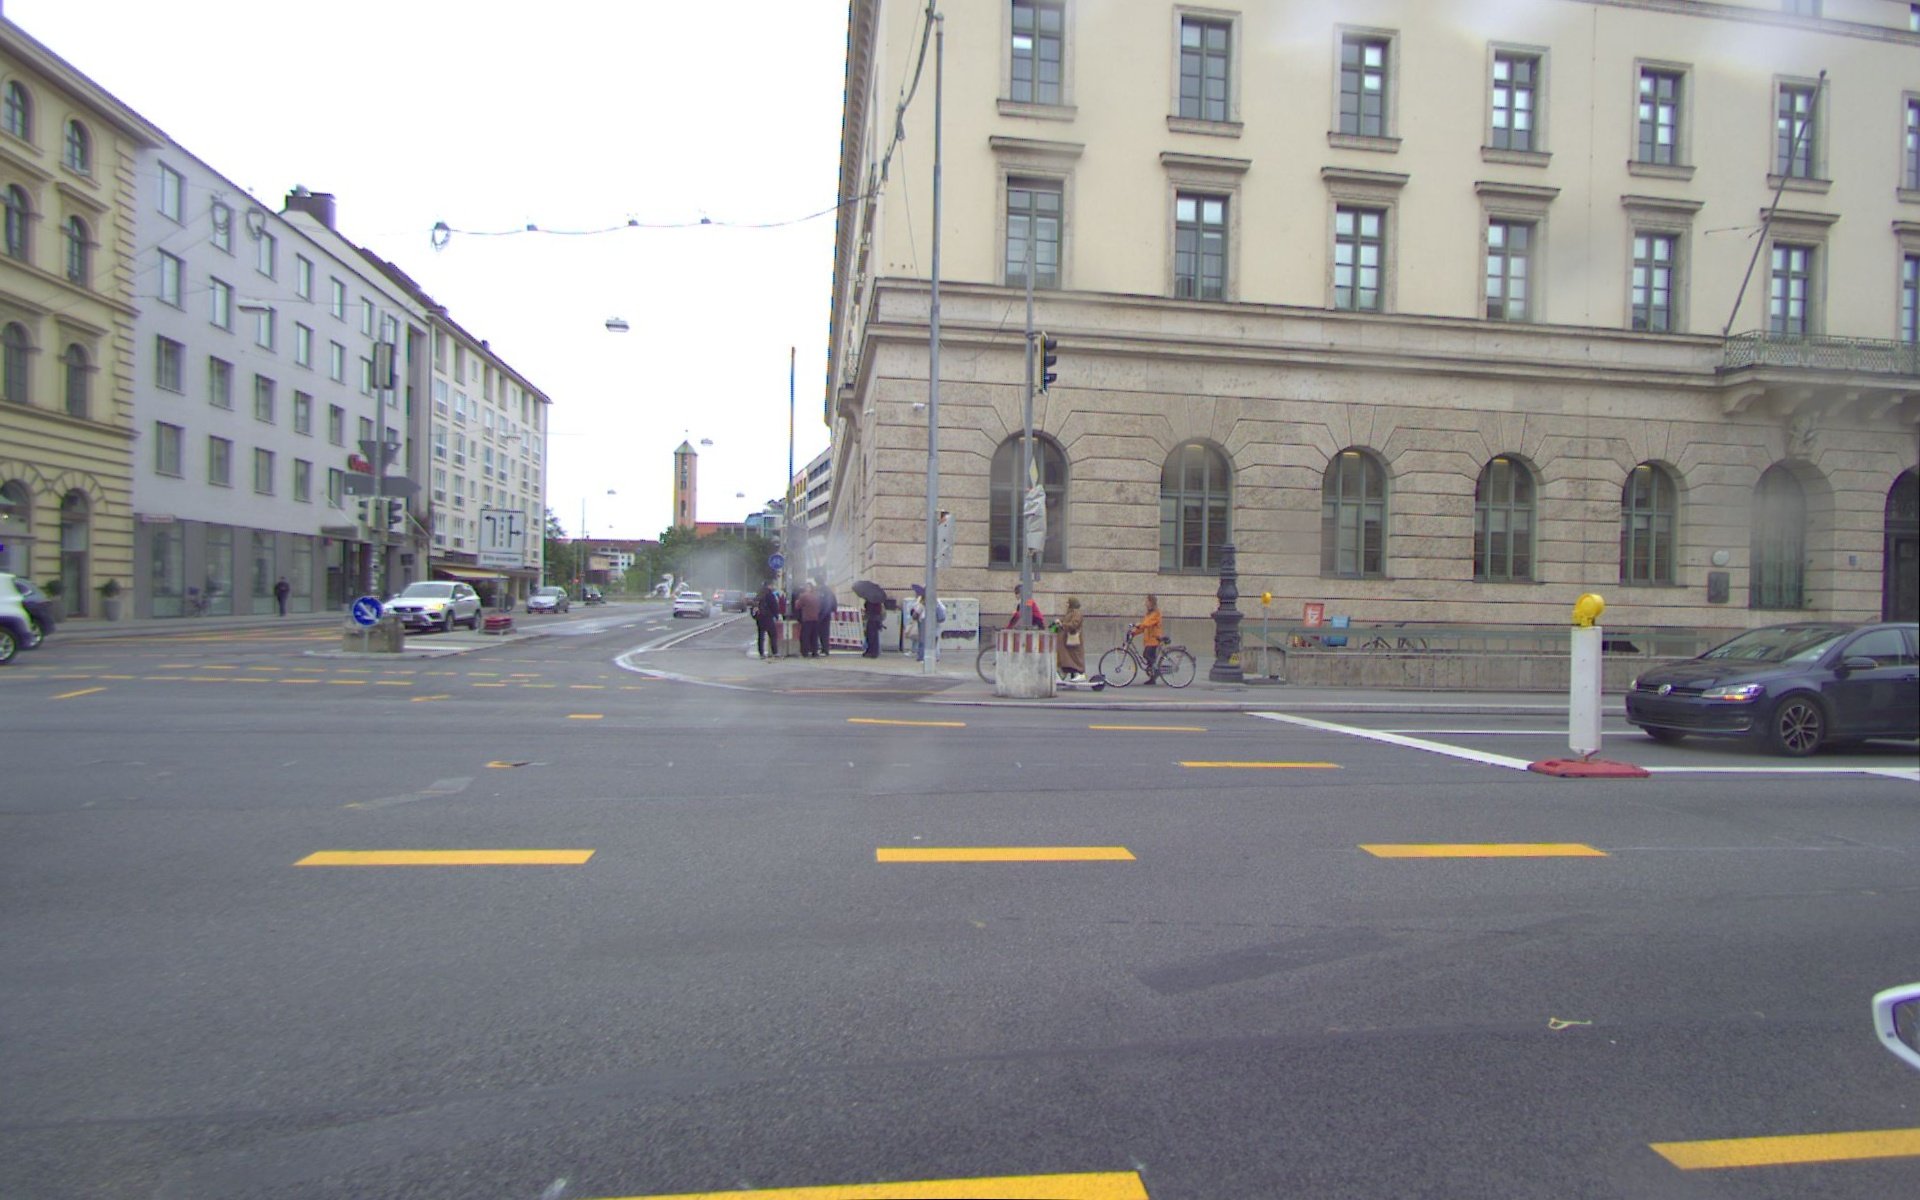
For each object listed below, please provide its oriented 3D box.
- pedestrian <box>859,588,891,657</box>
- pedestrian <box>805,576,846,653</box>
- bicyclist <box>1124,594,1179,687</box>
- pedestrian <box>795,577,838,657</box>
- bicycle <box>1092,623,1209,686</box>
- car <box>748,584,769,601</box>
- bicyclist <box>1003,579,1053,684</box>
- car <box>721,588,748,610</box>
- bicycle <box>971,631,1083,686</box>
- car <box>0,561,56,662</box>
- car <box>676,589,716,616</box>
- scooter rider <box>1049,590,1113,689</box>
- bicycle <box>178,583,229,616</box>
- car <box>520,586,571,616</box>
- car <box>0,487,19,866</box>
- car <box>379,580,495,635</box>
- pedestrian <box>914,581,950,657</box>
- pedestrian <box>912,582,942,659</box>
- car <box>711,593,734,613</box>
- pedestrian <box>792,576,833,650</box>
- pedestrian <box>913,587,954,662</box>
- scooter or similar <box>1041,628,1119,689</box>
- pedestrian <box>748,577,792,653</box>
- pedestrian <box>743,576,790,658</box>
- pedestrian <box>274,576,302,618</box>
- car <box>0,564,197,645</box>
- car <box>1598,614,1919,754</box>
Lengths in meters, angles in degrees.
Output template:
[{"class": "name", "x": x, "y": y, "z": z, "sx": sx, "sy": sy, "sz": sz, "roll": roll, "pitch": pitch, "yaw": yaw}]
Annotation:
[{"class": "pedestrian", "x": -1.965, "y": 0.512, "z": 23.207, "sx": 0.655, "sy": 1.547, "sz": 0.819, "roll": 2, "pitch": 0, "yaw": -7}, {"class": "pedestrian", "x": -3.201, "y": 0.342, "z": 23.897, "sx": 0.574, "sy": 1.779, "sz": 0.820, "roll": 3, "pitch": 0, "yaw": 22}, {"class": "bicyclist", "x": 3.519, "y": 0.731, "z": 18.537, "sx": 0.732, "sy": 1.636, "sz": 0.794, "roll": 2, "pitch": 0, "yaw": -6}, {"class": "pedestrian", "x": -3.300, "y": 0.386, "z": 23.081, "sx": 0.574, "sy": 1.779, "sz": 0.820, "roll": 3, "pitch": 0, "yaw": 22}, {"class": "bicycle", "x": 3.502, "y": 0.995, "z": 18.544, "sx": 1.928, "sy": 1.054, "sz": 0.794, "roll": 3, "pitch": 0, "yaw": -6}, {"class": "car", "x": -19.979, "y": -0.777, "z": 99.591, "sx": 1.837, "sy": 1.623, "sz": 3.844, "roll": 1, "pitch": 0, "yaw": -9}, {"class": "bicyclist", "x": 1.235, "y": 0.566, "z": 18.378, "sx": 0.732, "sy": 1.866, "sz": 0.660, "roll": 2, "pitch": 0, "yaw": -6}, {"class": "car", "x": -17.724, "y": -0.087, "z": 79.023, "sx": 1.837, "sy": 1.623, "sz": 3.844, "roll": 1, "pitch": 0, "yaw": -9}, {"class": "bicycle", "x": 1.213, "y": 1.069, "z": 18.383, "sx": 1.941, "sy": 0.891, "sz": 0.661, "roll": 3, "pitch": 0, "yaw": -6}, {"class": "car", "x": -17.422, "y": 0.175, "z": 16.009, "sx": 1.763, "sy": 1.700, "sz": 4.235, "roll": 1, "pitch": 0, "yaw": 13}, {"class": "car", "x": -15.175, "y": 0.116, "z": 57.936, "sx": 1.786, "sy": 1.443, "sz": 4.444, "roll": 3, "pitch": 0, "yaw": -10}, {"class": "scooter rider", "x": 2.086, "y": 0.676, "z": 17.344, "sx": 0.918, "sy": 1.644, "sz": 0.592, "roll": 2, "pitch": 0, "yaw": -8}, {"class": "bicycle", "x": -30.631, "y": -0.021, "z": 40.711, "sx": 0.589, "sy": 1.259, "sz": 2.196, "roll": 2, "pitch": 0, "yaw": -6}, {"class": "car", "x": -25.254, "y": 0.042, "z": 61.316, "sx": 1.964, "sy": 1.758, "sz": 4.225, "roll": 1, "pitch": 0, "yaw": -9}, {"class": "car", "x": -6.863, "y": 0.307, "z": 4.422, "sx": 4.493, "sy": 1.758, "sz": 2.001, "roll": 1, "pitch": 0, "yaw": 17}, {"class": "car", "x": -16.101, "y": 0.199, "z": 31.175, "sx": 1.964, "sy": 1.544, "sz": 4.225, "roll": 1, "pitch": 0, "yaw": -9}, {"class": "pedestrian", "x": -0.662, "y": 0.437, "z": 23.600, "sx": 0.704, "sy": 1.716, "sz": 0.819, "roll": 2, "pitch": 0, "yaw": -7}, {"class": "pedestrian", "x": -0.745, "y": 0.452, "z": 22.624, "sx": 0.606, "sy": 1.694, "sz": 0.542, "roll": 2, "pitch": 0, "yaw": -1}, {"class": "car", "x": -24.945, "y": 0.267, "z": 105.538, "sx": 1.964, "sy": 2.040, "sz": 3.993, "roll": 1, "pitch": 0, "yaw": -9}, {"class": "pedestrian", "x": -3.626, "y": 0.315, "z": 24.771, "sx": 0.803, "sy": 1.779, "sz": 0.586, "roll": 2, "pitch": 0, "yaw": 5}, {"class": "pedestrian", "x": -0.570, "y": 0.523, "z": 21.862, "sx": 0.804, "sy": 1.578, "sz": 0.667, "roll": 2, "pitch": 0, "yaw": -1}, {"class": "scooter or similar", "x": 2.071, "y": 1.002, "z": 17.343, "sx": 1.192, "sy": 0.978, "sz": 0.587, "roll": 3, "pitch": 0, "yaw": -8}, {"class": "pedestrian", "x": -4.555, "y": 0.357, "z": 24.099, "sx": 0.813, "sy": 1.779, "sz": 0.579, "roll": 2, "pitch": 1, "yaw": -40}, {"class": "pedestrian", "x": -4.363, "y": 0.380, "z": 22.665, "sx": 0.803, "sy": 1.779, "sz": 0.680, "roll": 3, "pitch": 0, "yaw": 7}, {"class": "pedestrian", "x": -30.130, "y": -0.136, "z": 45.051, "sx": 0.726, "sy": 1.795, "sz": 0.735, "roll": 2, "pitch": 0, "yaw": -9}, {"class": "car", "x": -20.460, "y": 0.072, "z": 23.345, "sx": 1.704, "sy": 1.700, "sz": 4.235, "roll": 1, "pitch": 0, "yaw": 13}, {"class": "car", "x": 9.835, "y": 0.943, "z": 11.502, "sx": 4.164, "sy": 1.406, "sz": 1.747, "roll": 2, "pitch": -1, "yaw": -9}]
